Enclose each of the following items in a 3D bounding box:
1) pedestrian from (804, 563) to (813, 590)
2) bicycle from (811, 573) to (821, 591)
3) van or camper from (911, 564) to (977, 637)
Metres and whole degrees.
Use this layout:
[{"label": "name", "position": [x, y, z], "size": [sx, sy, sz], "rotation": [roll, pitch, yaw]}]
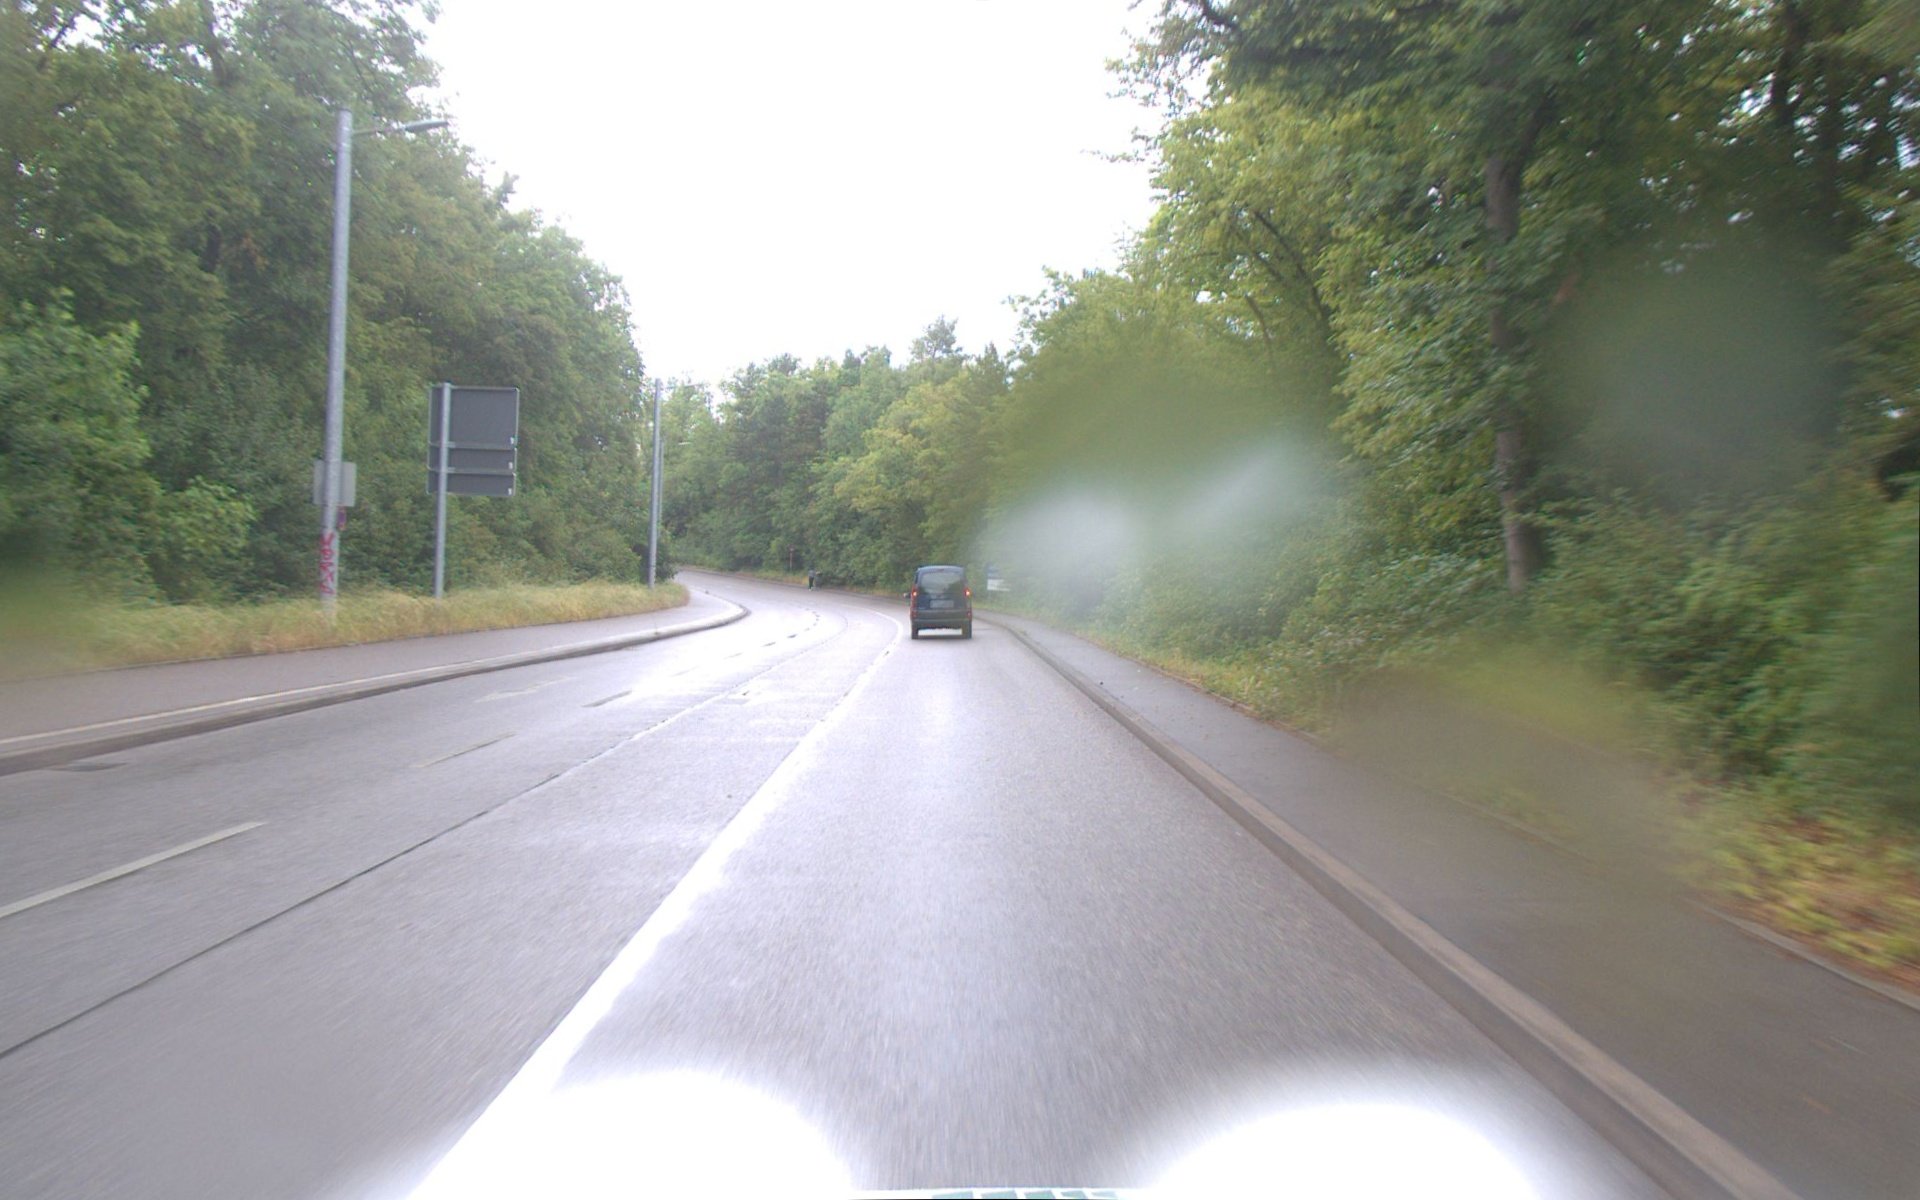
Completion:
[{"label": "pedestrian", "position": [-10.896, -1.677, 118.986], "size": [0.482, 1.903, 0.678], "rotation": [1, 0, -13]}, {"label": "bicycle", "position": [-10.359, -1.301, 119.087], "size": [0.480, 1.268, 1.741], "rotation": [1, 0, -13]}, {"label": "van or camper", "position": [-0.457, 0.034, 44.161], "size": [1.678, 1.858, 3.999], "rotation": [-1, -1, -1]}]
